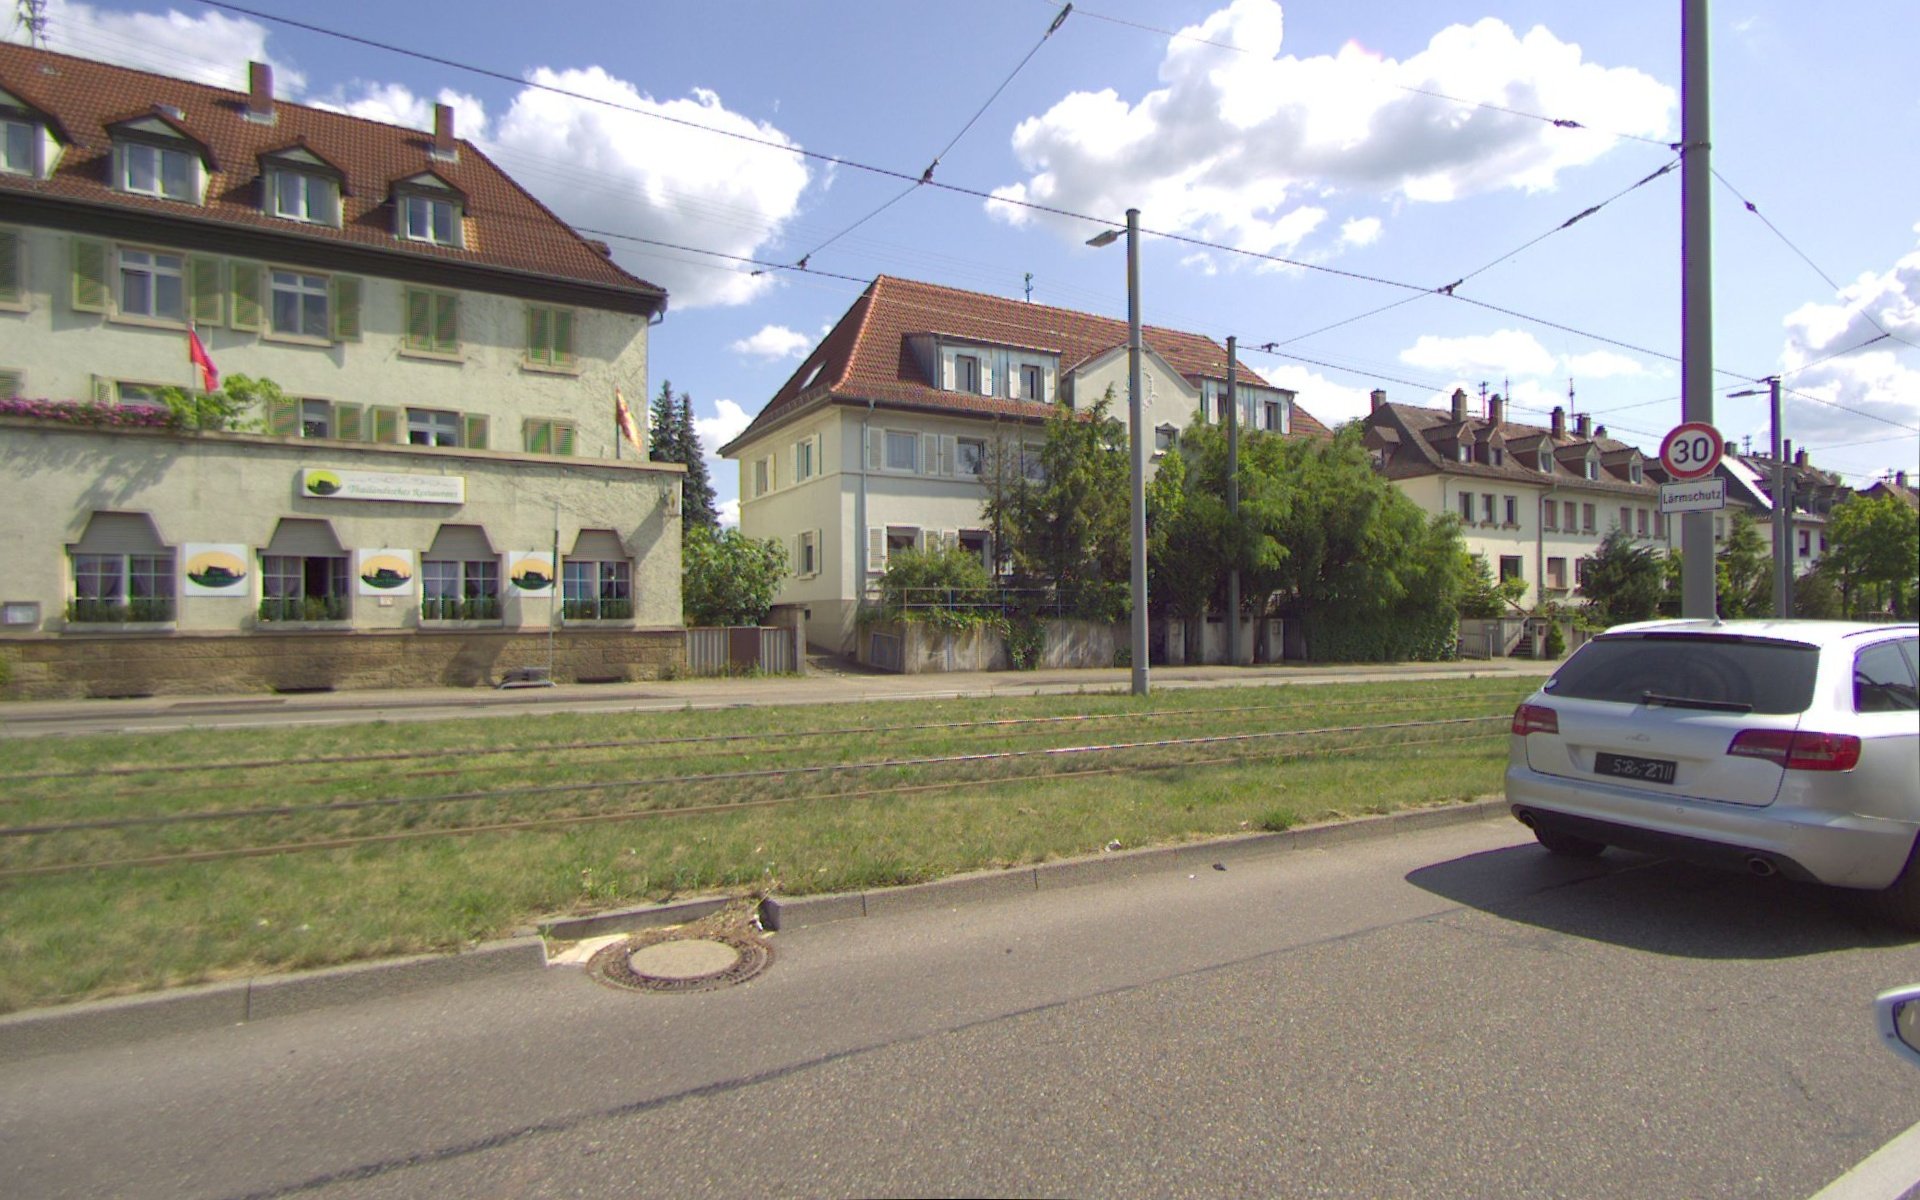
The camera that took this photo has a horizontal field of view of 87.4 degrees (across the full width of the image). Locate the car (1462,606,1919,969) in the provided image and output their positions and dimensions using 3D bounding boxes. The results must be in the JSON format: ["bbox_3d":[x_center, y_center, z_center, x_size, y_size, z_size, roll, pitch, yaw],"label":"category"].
[{"bbox_3d":[5.286,0.811,6.092,4.667,1.491,1.786,1,-1,-31],"label":"car"}]
